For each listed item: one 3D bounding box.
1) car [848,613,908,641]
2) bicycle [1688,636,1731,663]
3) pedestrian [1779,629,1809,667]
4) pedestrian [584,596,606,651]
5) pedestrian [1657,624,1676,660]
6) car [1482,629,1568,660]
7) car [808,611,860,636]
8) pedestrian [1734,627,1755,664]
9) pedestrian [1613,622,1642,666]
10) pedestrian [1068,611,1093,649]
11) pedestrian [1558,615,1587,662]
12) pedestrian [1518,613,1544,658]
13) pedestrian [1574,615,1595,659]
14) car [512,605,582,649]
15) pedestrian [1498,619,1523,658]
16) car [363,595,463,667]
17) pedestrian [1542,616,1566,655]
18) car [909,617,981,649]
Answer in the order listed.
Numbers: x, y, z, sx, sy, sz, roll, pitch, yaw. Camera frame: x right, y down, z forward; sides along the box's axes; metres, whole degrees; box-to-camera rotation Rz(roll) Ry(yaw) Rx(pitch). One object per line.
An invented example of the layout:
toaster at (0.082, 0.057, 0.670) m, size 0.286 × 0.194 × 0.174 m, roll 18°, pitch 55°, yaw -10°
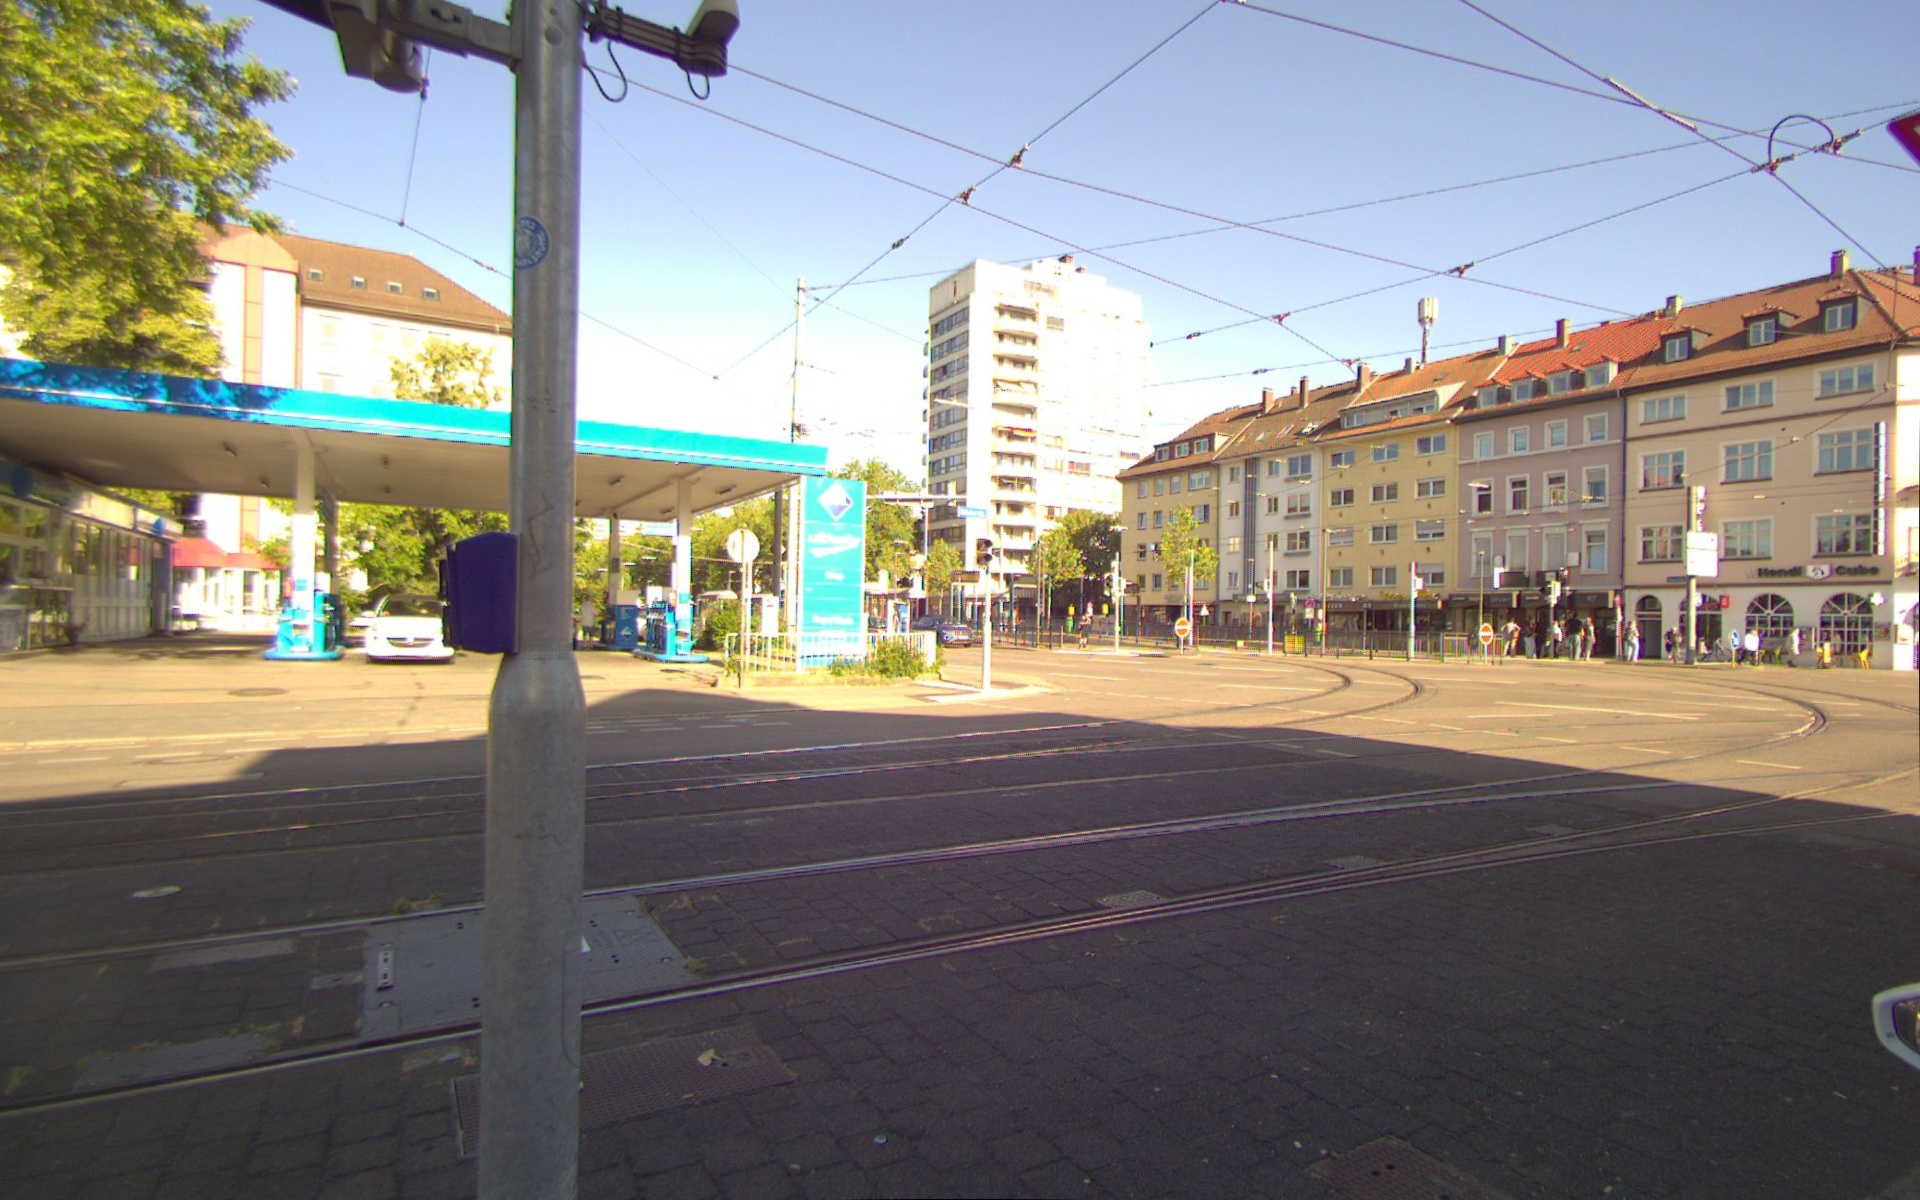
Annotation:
car at (-4.479, 1.443, 54.311) m, size 1.697 × 1.439 × 4.149 m, roll 1°, pitch -1°, yaw -28°
bicycle at (37.635, 2.472, 50.461) m, size 1.693 × 1.293 × 0.385 m, roll 0°, pitch -1°, yaw 44°
pedestrian at (38.388, 2.192, 46.241) m, size 0.736 × 1.704 × 0.902 m, roll 1°, pitch -1°, yaw -35°
pedestrian at (-11.635, 0.749, 32.024) m, size 0.579 × 1.715 × 0.756 m, roll 1°, pitch -1°, yaw -25°
pedestrian at (33.910, 2.026, 48.188) m, size 0.731 × 1.704 × 0.626 m, roll 0°, pitch -1°, yaw 35°
car at (30.751, 2.400, 54.787) m, size 1.795 × 1.511 × 3.715 m, roll 2°, pitch 0°, yaw -27°
car at (-7.607, 1.396, 60.321) m, size 1.697 × 1.439 × 4.149 m, roll 1°, pitch -1°, yaw -28°
pedestrian at (36.594, 2.098, 46.849) m, size 0.731 × 1.704 × 0.626 m, roll 0°, pitch -1°, yaw 35°
pedestrian at (26.481, 1.734, 39.850) m, size 0.621 × 1.704 × 0.737 m, roll 1°, pitch -1°, yaw -30°
pedestrian at (5.265, 1.303, 43.973) m, size 0.788 × 1.632 × 0.766 m, roll 1°, pitch -1°, yaw -36°
pedestrian at (24.733, 1.557, 40.570) m, size 0.714 × 1.853 × 0.763 m, roll 1°, pitch -1°, yaw -30°
pedestrian at (23.768, 1.474, 41.835) m, size 0.769 × 1.874 × 0.625 m, roll 1°, pitch -1°, yaw -30°
pedestrian at (25.566, 1.506, 41.148) m, size 0.554 × 1.810 × 0.556 m, roll 1°, pitch -1°, yaw -35°
car at (-13.568, 0.855, 32.883) m, size 1.697 × 1.360 × 3.970 m, roll 1°, pitch -1°, yaw -28°
pedestrian at (24.190, 1.682, 44.160) m, size 0.621 × 1.704 × 0.763 m, roll 1°, pitch -1°, yaw -30°
car at (-12.346, 0.669, 22.562) m, size 1.793 × 1.461 × 3.966 m, roll 1°, pitch -1°, yaw -31°
pedestrian at (25.043, 1.496, 42.352) m, size 0.554 × 1.602 × 0.694 m, roll 1°, pitch -1°, yaw -35°
car at (-0.766, 1.531, 47.876) m, size 1.697 × 1.439 × 4.149 m, roll 1°, pitch -1°, yaw -28°
